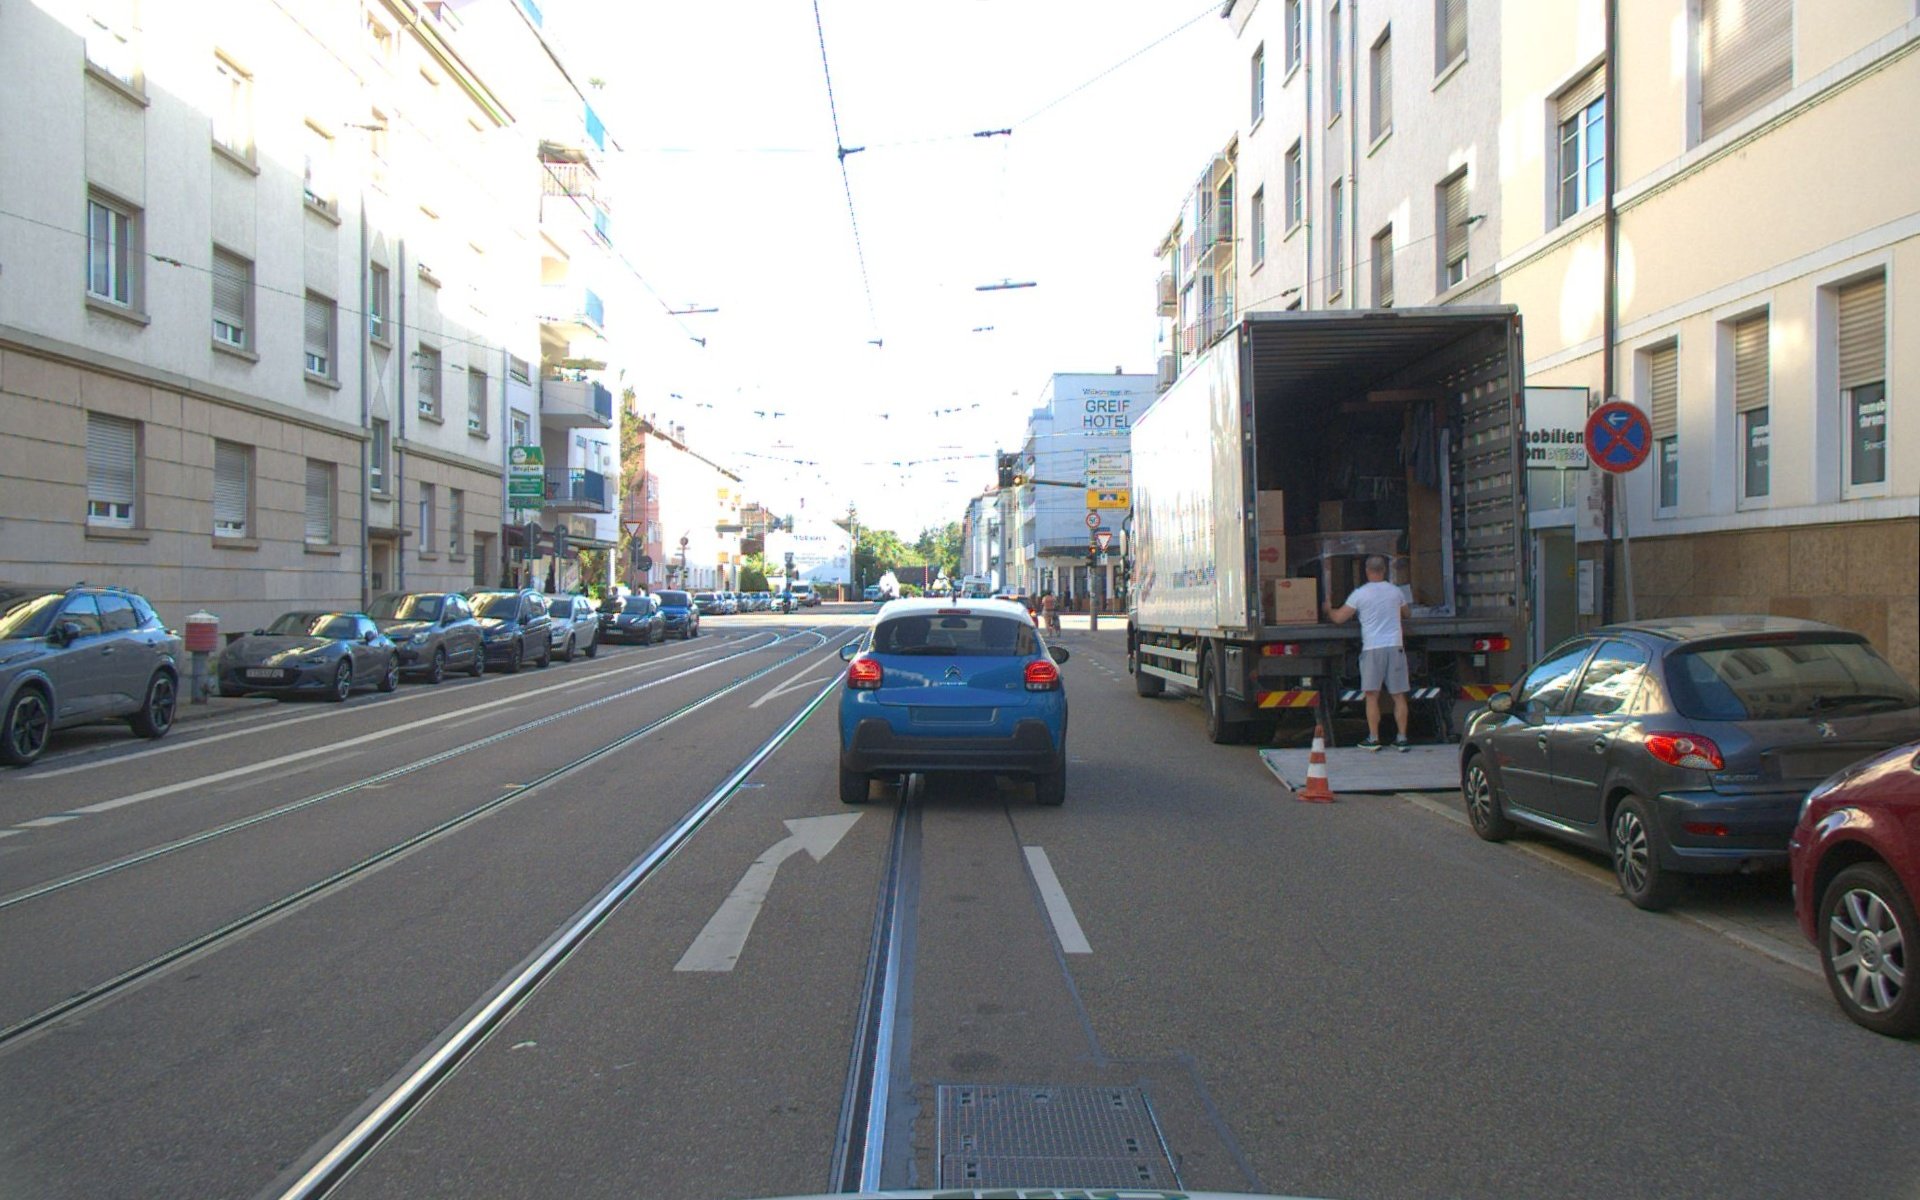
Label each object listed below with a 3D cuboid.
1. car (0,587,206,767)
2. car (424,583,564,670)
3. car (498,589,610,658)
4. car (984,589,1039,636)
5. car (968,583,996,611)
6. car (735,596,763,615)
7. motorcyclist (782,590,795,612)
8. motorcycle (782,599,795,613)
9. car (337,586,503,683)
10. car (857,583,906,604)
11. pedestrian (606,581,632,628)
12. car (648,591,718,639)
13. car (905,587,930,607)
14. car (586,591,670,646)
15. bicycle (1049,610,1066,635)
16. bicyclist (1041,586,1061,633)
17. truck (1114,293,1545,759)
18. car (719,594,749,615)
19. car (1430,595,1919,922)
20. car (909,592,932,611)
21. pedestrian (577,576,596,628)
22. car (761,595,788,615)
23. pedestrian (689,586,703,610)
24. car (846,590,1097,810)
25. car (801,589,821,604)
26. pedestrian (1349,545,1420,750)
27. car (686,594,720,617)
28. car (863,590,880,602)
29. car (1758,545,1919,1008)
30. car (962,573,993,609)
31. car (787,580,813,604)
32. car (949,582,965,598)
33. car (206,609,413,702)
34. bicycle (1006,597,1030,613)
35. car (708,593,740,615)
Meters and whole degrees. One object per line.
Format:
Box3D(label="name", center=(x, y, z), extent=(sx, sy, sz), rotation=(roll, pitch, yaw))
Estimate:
Box3D(label="car", center=(-9.359, 0.672, 16.530), extent=(1.664, 1.595, 4.405), rotation=(0, 0, -1))
Box3D(label="car", center=(-9.504, 0.529, 34.078), extent=(1.664, 1.644, 4.243), rotation=(1, 0, -1))
Box3D(label="car", center=(-9.720, 0.549, 39.868), extent=(1.665, 1.536, 4.385), rotation=(1, 0, -1))
Box3D(label="car", center=(1.665, 0.386, 53.488), extent=(1.702, 1.445, 4.001), rotation=(0, 0, 2))
Box3D(label="car", center=(1.408, -0.217, 107.555), extent=(1.697, 1.780, 3.213), rotation=(1, 0, -1))
Box3D(label="car", center=(-17.646, 0.429, 138.458), extent=(1.872, 1.523, 3.999), rotation=(0, 0, -2))
Box3D(label="motorcyclist", center=(-11.159, 0.084, 107.632), extent=(0.704, 1.402, 0.912), rotation=(0, 0, 2))
Box3D(label="motorcycle", center=(-11.162, 0.376, 107.787), extent=(0.603, 0.879, 1.671), rotation=(0, 0, 2))
Box3D(label="car", center=(-9.643, 0.591, 29.828), extent=(1.664, 1.596, 3.999), rotation=(1, 0, -1))
Box3D(label="car", center=(-6.521, -0.521, 137.020), extent=(3.929, 1.668, 1.803), rotation=(0, 0, 42))
Box3D(label="pedestrian", center=(-11.466, 0.150, 55.672), extent=(0.683, 1.575, 0.721), rotation=(0, 1, 2))
Box3D(label="car", center=(-9.360, 0.500, 56.165), extent=(1.709, 1.536, 3.999), rotation=(1, 0, -1))
Box3D(label="car", center=(-3.339, -0.265, 130.907), extent=(1.953, 1.534, 3.999), rotation=(0, 0, -1))
Box3D(label="car", center=(-9.964, 0.550, 49.890), extent=(1.664, 1.536, 4.311), rotation=(1, 0, -1))
Box3D(label="bicycle", center=(3.553, 0.825, 60.373), extent=(0.488, 0.879, 1.749), rotation=(0, 0, 0))
Box3D(label="bicyclist", center=(3.311, 0.347, 60.045), extent=(0.711, 1.674, 0.790), rotation=(0, 0, 2))
Box3D(label="truck", center=(3.863, -0.710, 20.722), extent=(2.801, 4.144, 11.779), rotation=(-1, 0, 0))
Box3D(label="car", center=(-17.298, 0.341, 126.722), extent=(1.872, 1.523, 3.999), rotation=(0, 0, -2))
Box3D(label="car", center=(4.176, 0.740, 9.776), extent=(1.550, 1.489, 3.879), rotation=(-1, 0, -2))
Box3D(label="car", center=(-3.518, 0.171, 147.938), extent=(1.953, 1.646, 3.999), rotation=(1, 0, -1))
Box3D(label="pedestrian", center=(-14.914, 0.083, 66.002), extent=(0.673, 2.049, 0.486), rotation=(0, 0, -4))
Box3D(label="car", center=(-15.118, 0.399, 134.921), extent=(1.812, 1.601, 4.399), rotation=(0, 0, -2))
Box3D(label="pedestrian", center=(-18.837, -0.138, 118.033), extent=(0.826, 1.720, 0.738), rotation=(0, 0, 5))
Box3D(label="car", center=(-0.043, 0.685, 13.443), extent=(1.709, 1.488, 3.997), rotation=(1, 0, -4))
Box3D(label="car", center=(-16.662, -0.400, 185.457), extent=(1.980, 1.552, 3.999), rotation=(0, 0, -2))
Box3D(label="pedestrian", center=(3.791, 0.418, 14.781), extent=(0.502, 1.806, 0.415), rotation=(-1, 0, -1))
Box3D(label="car", center=(-16.998, 0.344, 109.560), extent=(1.873, 1.458, 3.997), rotation=(0, 0, -3))
Box3D(label="car", center=(-11.242, -0.517, 210.031), extent=(1.980, 1.552, 3.999), rotation=(0, 0, -2))
Box3D(label="car", center=(4.216, 0.611, 4.767), extent=(1.560, 1.637, 4.244), rotation=(-1, 0, -3))
Box3D(label="car", center=(1.167, -0.573, 112.485), extent=(1.953, 2.366, 3.999), rotation=(1, 0, -1))
Box3D(label="car", center=(-15.462, -0.744, 159.938), extent=(2.162, 2.290, 4.675), rotation=(0, 0, -2))
Box3D(label="car", center=(-0.288, -1.048, 171.538), extent=(1.654, 1.646, 4.000), rotation=(1, 0, 0))
Box3D(label="car", center=(-9.606, 0.776, 24.732), extent=(1.665, 1.237, 3.784), rotation=(1, 0, -2))
Box3D(label="bicycle", center=(3.727, 0.319, 105.929), extent=(1.472, 0.973, 0.702), rotation=(0, 0, 4))
Box3D(label="car", center=(-17.105, 0.284, 119.926), extent=(1.872, 1.523, 3.999), rotation=(0, 0, -2))
